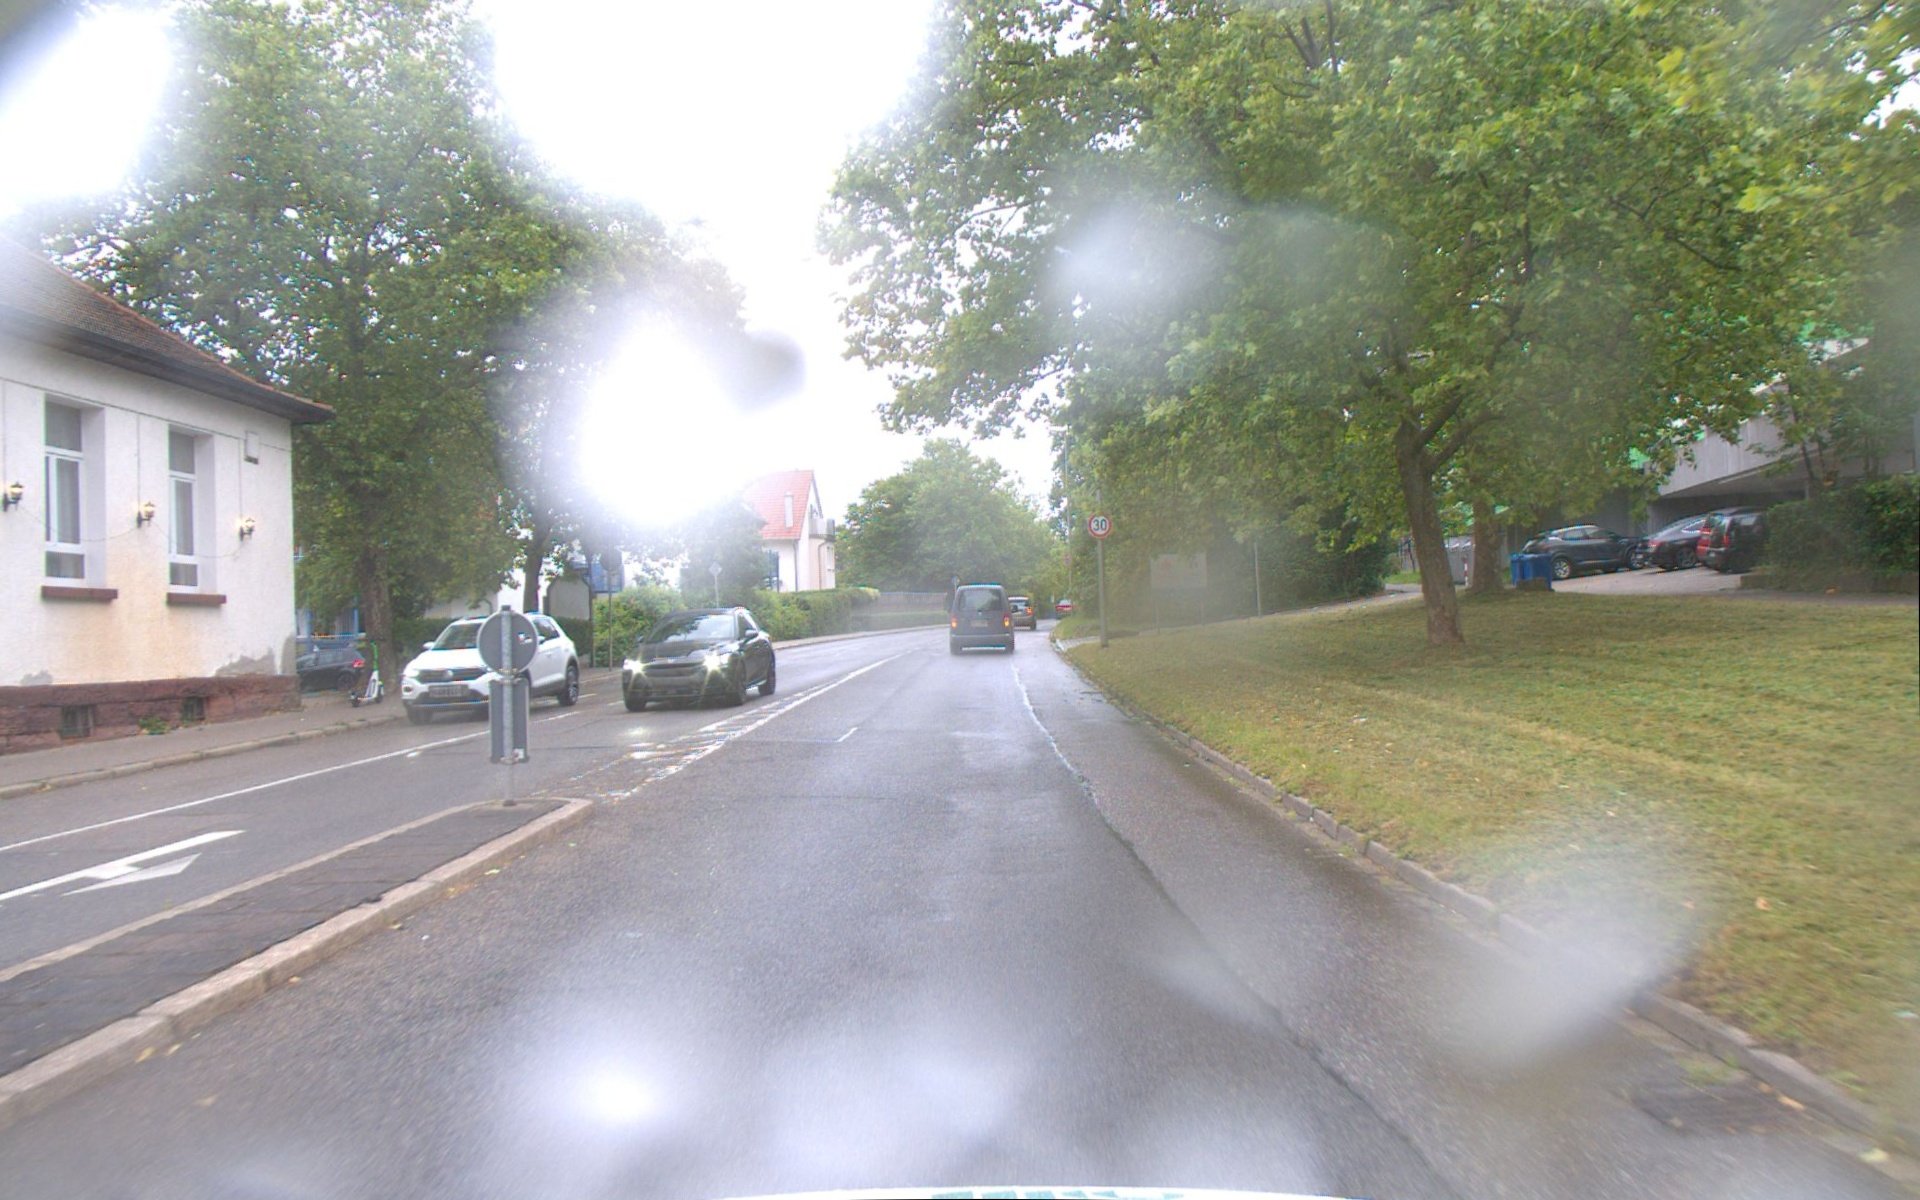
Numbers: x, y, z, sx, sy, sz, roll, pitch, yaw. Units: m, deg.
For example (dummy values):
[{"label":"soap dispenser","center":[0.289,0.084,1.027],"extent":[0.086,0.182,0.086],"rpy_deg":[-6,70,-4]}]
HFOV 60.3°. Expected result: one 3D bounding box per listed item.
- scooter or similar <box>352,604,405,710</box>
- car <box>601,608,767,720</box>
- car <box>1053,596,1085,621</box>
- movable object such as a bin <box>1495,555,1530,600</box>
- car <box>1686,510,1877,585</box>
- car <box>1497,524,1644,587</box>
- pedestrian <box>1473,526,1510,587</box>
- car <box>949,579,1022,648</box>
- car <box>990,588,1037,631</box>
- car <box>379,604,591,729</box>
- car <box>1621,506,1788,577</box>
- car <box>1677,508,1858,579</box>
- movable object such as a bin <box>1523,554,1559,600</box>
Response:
[{"label":"scooter or similar","center":[-10.248,0.995,29.181],"extent":[0.392,1.806,1.512],"rpy_deg":[-2,-1,-1]},{"label":"car","center":[-4.180,0.917,25.712],"extent":[1.954,1.454,4.385],"rpy_deg":[-3,0,-3]},{"label":"car","center":[8.039,0.636,121.817],"extent":[1.951,1.780,4.003],"rpy_deg":[0,-1,9]},{"label":"movable object such as a bin","center":[14.158,-0.577,42.425],"extent":[0.655,1.140,0.662],"rpy_deg":[0,-1,-3]},{"label":"car","center":[20.924,-1.317,42.285],"extent":[3.902,1.668,2.002],"rpy_deg":[-3,0,9]},{"label":"car","center":[19.582,-1.408,53.174],"extent":[3.910,1.780,1.998],"rpy_deg":[-3,0,-5]},{"label":"pedestrian","center":[16.060,-1.304,50.005],"extent":[0.651,1.780,0.846],"rpy_deg":[-2,0,-16]},{"label":"car","center":[0.667,0.351,46.046],"extent":[1.953,1.825,4.000],"rpy_deg":[0,0,-1]},{"label":"car","center":[2.469,0.403,75.015],"extent":[1.909,1.780,4.002],"rpy_deg":[-3,0,4]},{"label":"car","center":[-7.433,0.979,26.304],"extent":[1.952,1.713,4.002],"rpy_deg":[-3,0,3]},{"label":"car","center":[21.130,-1.637,47.088],"extent":[3.902,1.780,2.002],"rpy_deg":[-3,0,9]},{"label":"car","center":[21.736,-1.502,44.633],"extent":[3.902,1.691,1.961],"rpy_deg":[-3,0,6]},{"label":"movable object such as a bin","center":[14.627,-0.579,41.681],"extent":[0.655,1.140,0.662],"rpy_deg":[0,-1,-3]}]
